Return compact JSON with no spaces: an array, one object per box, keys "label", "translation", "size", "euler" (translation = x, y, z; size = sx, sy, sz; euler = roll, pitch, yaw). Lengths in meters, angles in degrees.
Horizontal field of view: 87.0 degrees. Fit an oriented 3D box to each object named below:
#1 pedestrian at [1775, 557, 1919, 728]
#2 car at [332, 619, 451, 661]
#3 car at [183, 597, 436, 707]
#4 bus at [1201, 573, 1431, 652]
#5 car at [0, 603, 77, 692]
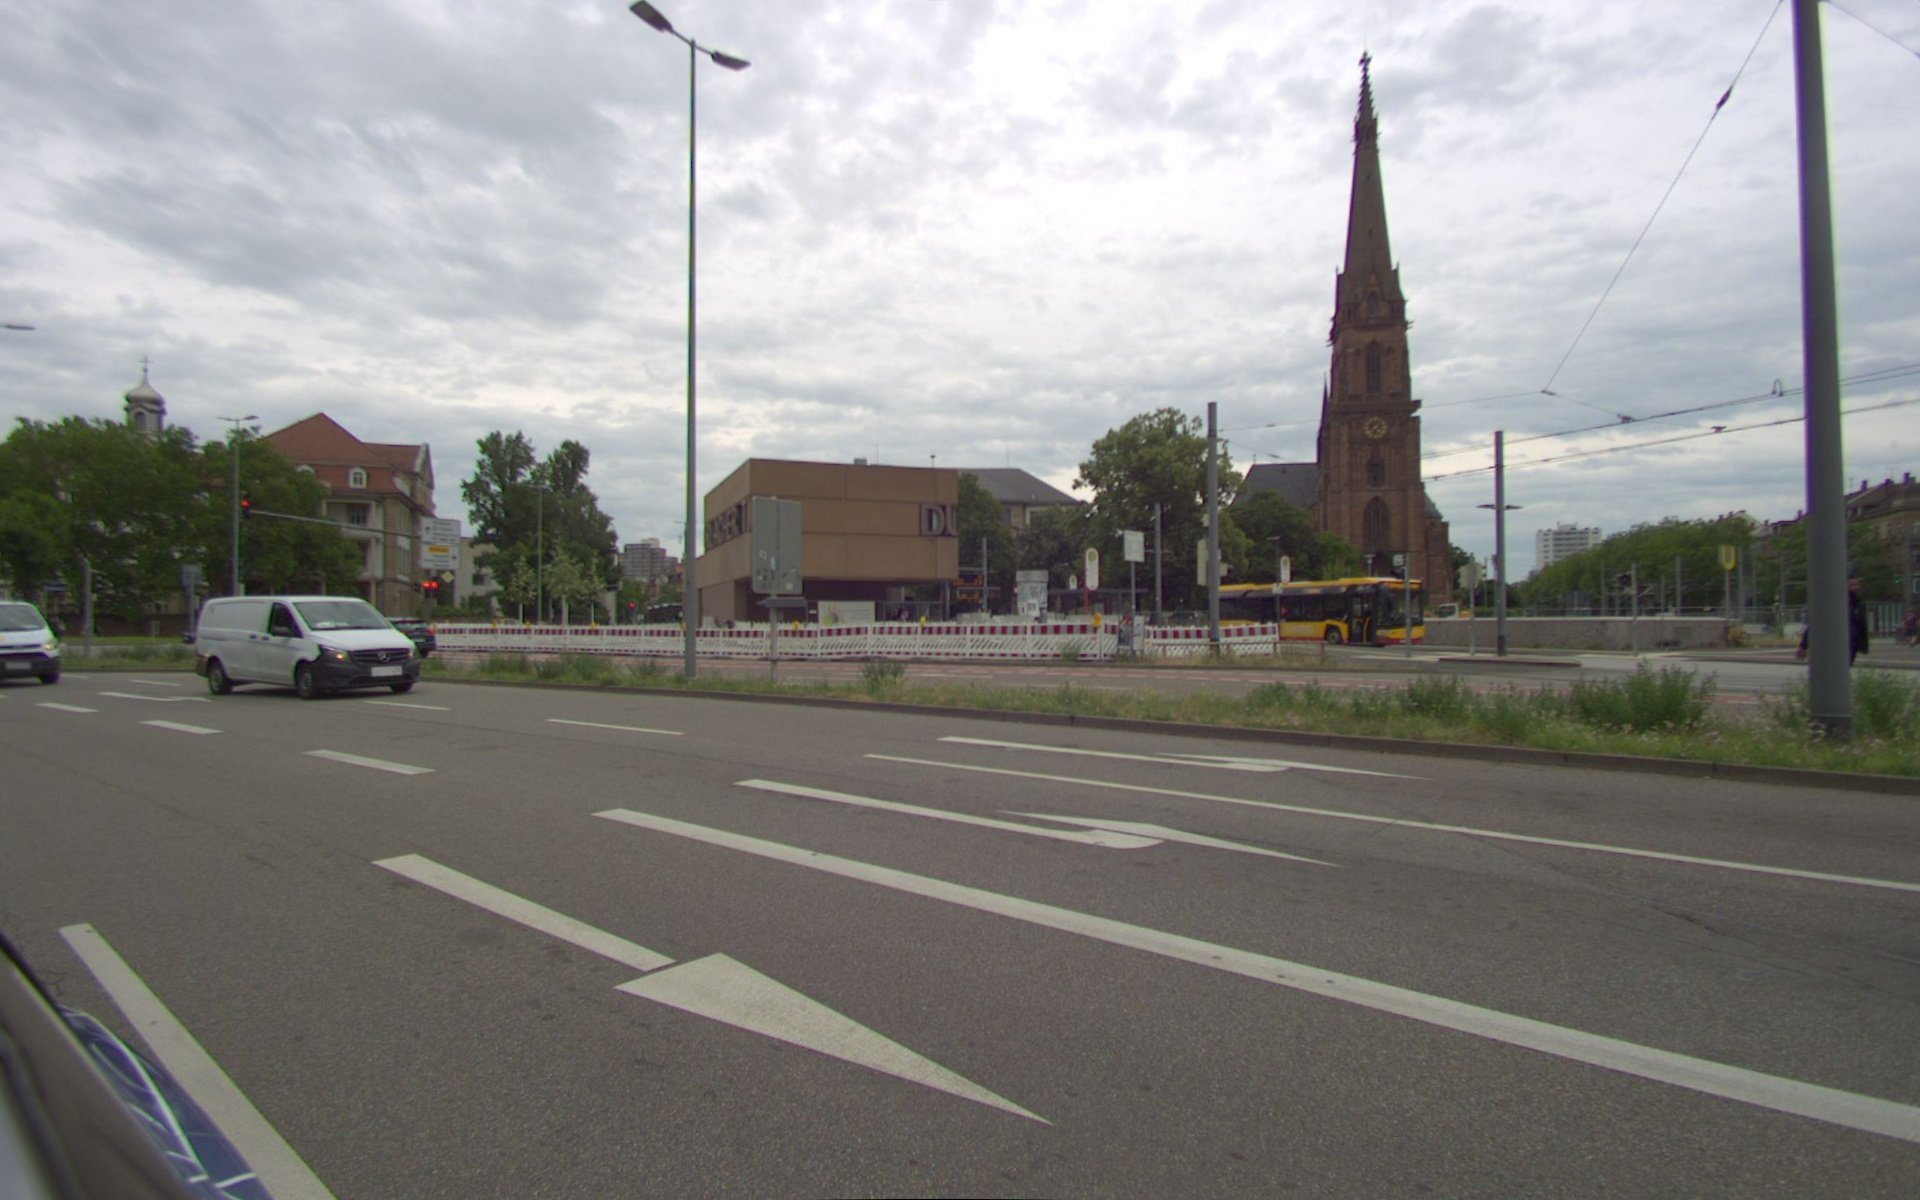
[{"label":"pedestrian","translation":[10.626,0.501,12.164],"size":[0.768,1.958,0.984],"euler":[0,-2,-11]},{"label":"car","translation":[-20.311,1.419,36.140],"size":[3.984,1.409,1.979],"euler":[-1,-2,30]},{"label":"car","translation":[-12.560,0.933,19.470],"size":[5.065,1.896,1.905],"euler":[-1,0,28]},{"label":"bus","translation":[15.605,0.576,46.041],"size":[2.815,3.100,12.058],"euler":[-1,-1,-20]},{"label":"car","translation":[-22.953,1.095,23.559],"size":[4.498,1.957,1.983],"euler":[-1,-2,25]}]
